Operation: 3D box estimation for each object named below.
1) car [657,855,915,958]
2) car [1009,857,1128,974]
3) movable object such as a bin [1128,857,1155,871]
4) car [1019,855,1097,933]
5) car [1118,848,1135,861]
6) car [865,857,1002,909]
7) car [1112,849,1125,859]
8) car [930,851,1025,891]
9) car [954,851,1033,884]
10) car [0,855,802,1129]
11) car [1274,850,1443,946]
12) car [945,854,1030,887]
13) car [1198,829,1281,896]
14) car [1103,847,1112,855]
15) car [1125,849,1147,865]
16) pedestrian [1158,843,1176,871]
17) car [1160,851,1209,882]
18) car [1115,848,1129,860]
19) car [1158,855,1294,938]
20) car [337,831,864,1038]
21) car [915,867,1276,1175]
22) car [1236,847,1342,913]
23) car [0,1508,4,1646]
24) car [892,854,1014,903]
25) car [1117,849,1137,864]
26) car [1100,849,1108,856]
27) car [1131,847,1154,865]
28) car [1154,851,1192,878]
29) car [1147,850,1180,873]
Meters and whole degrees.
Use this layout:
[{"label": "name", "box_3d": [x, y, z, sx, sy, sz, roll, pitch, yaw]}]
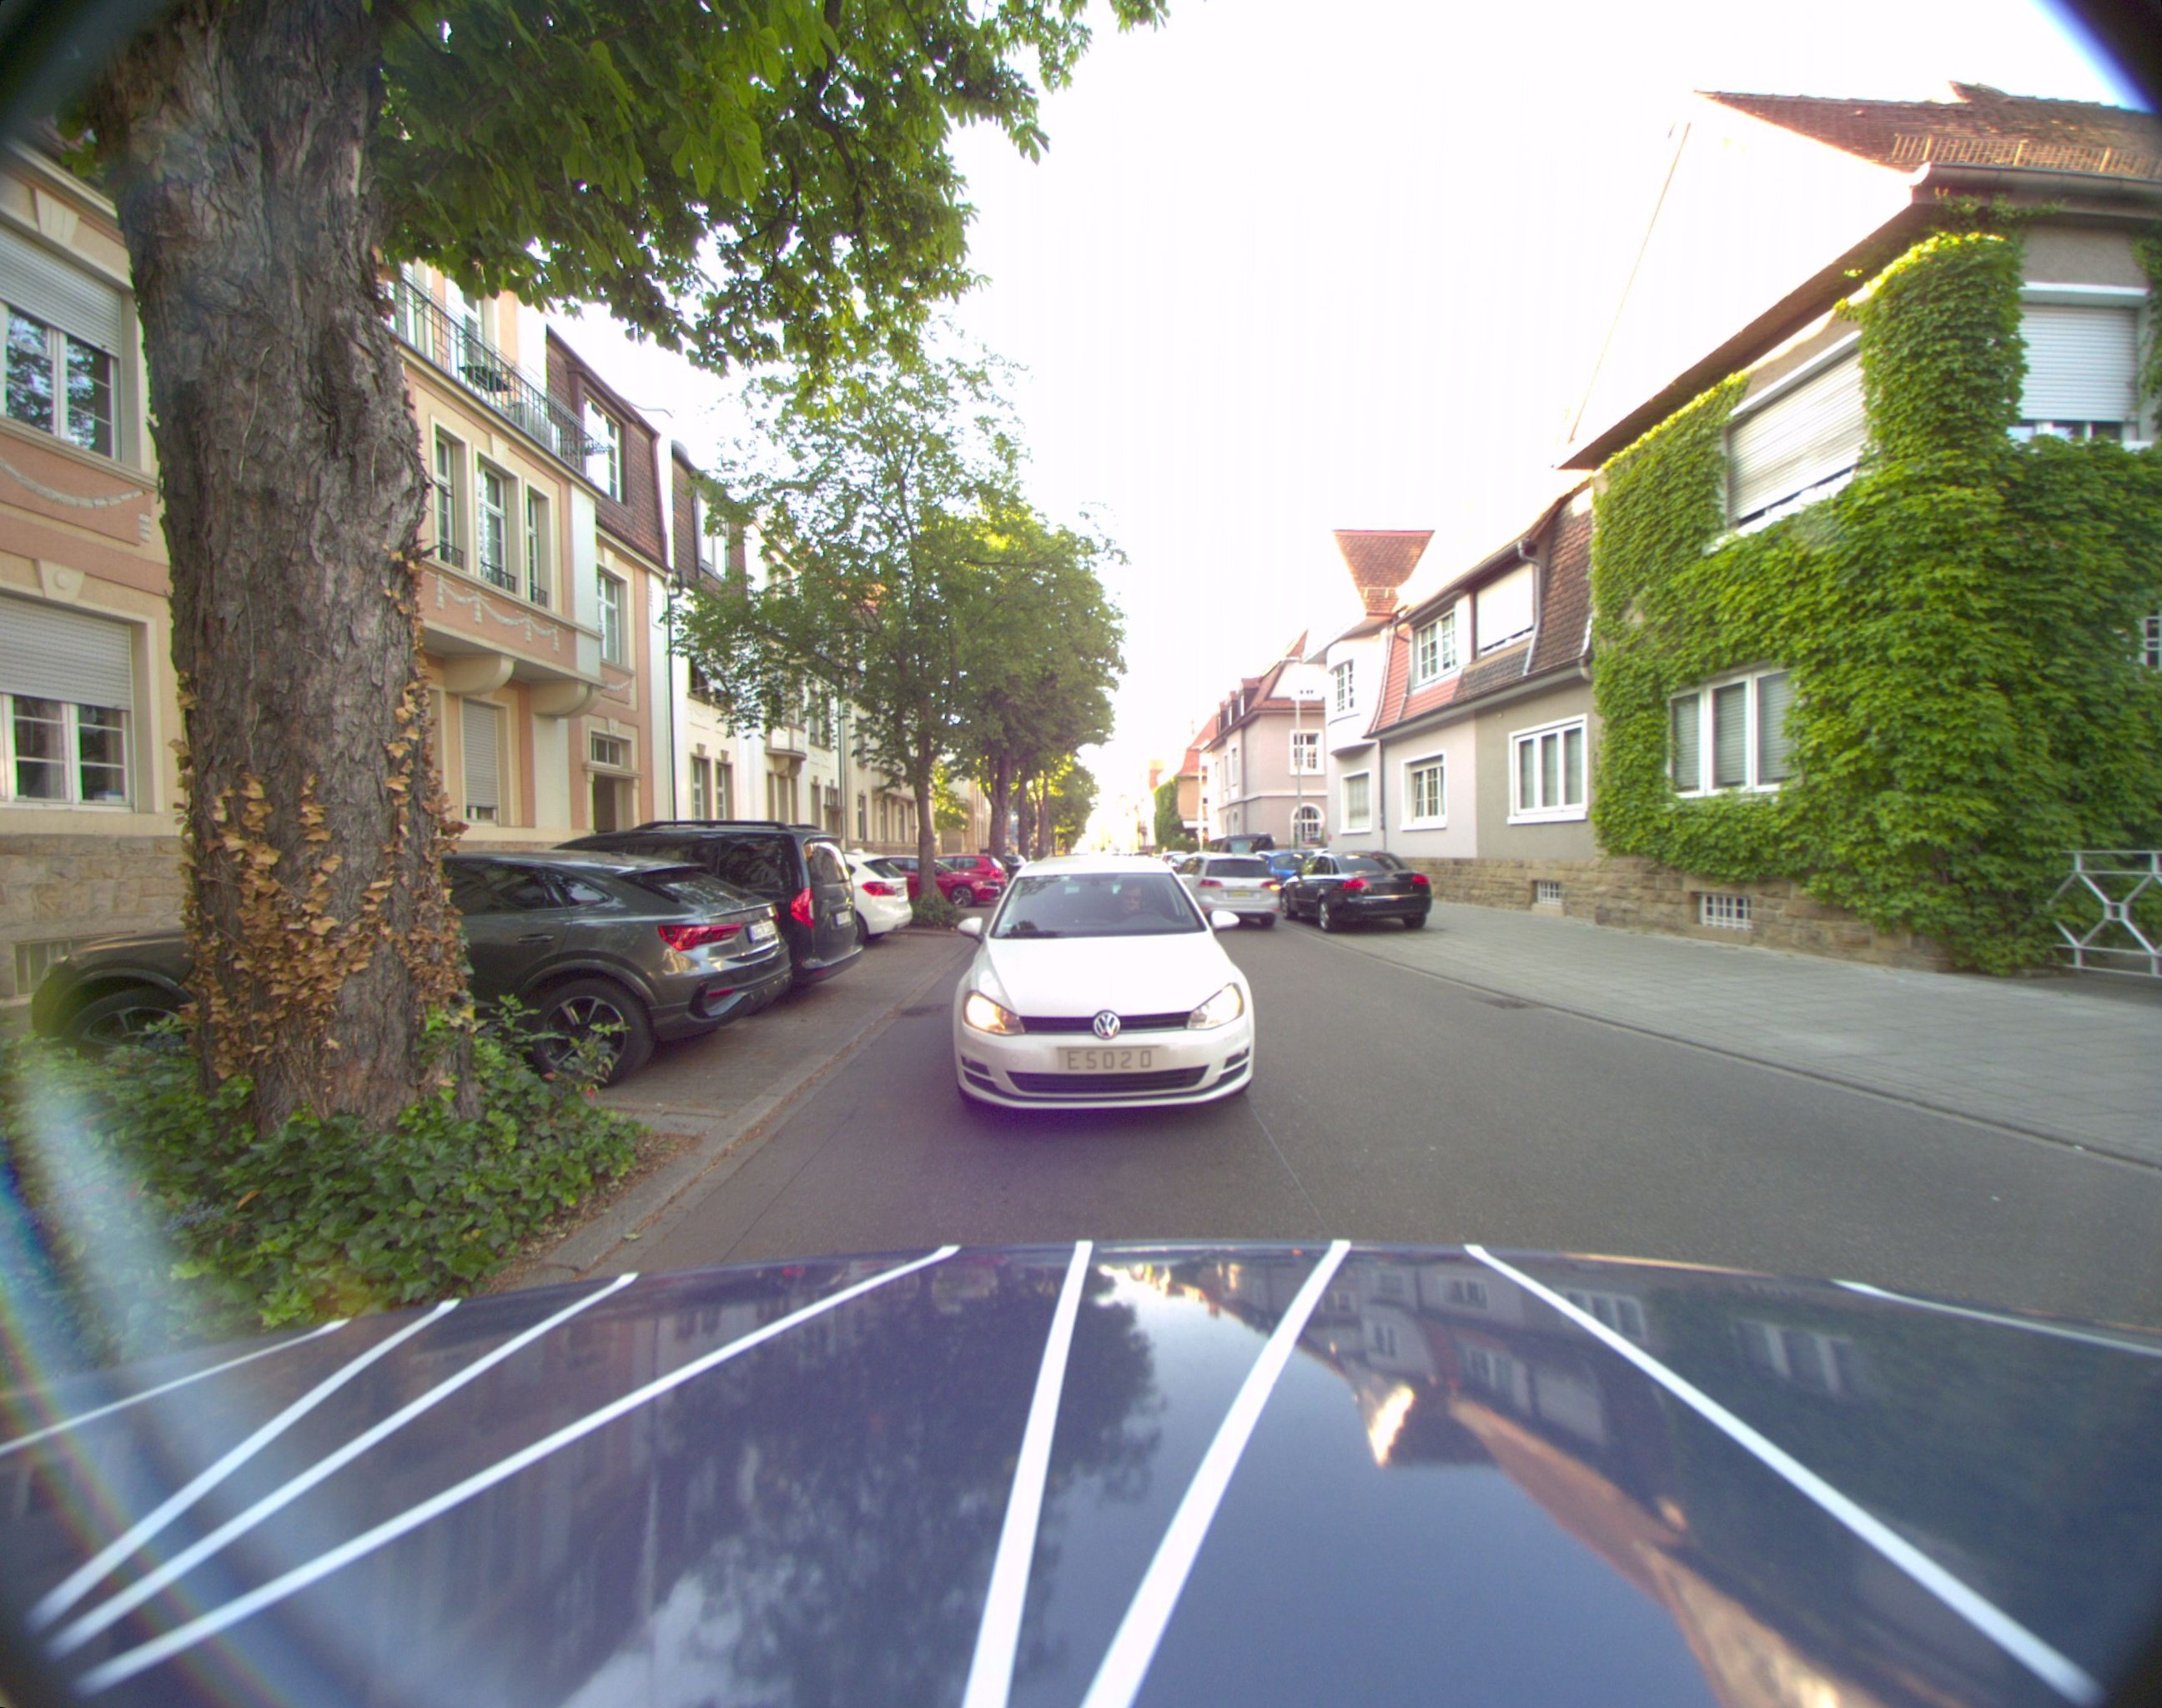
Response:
[{"label": "car", "box_3d": [-4.667, 0.809, 12.393, 3.623, 1.541, 1.537, 1, 1, -4]}, {"label": "car", "box_3d": [-0.140, 0.840, 12.358, 1.600, 1.546, 4.000, 1, 0, 1]}, {"label": "movable object such as a bin", "box_3d": [4.373, 0.705, 55.116, 1.943, 0.943, 1.433, 1, 0, 4]}, {"label": "car", "box_3d": [-0.441, 0.812, 17.303, 1.560, 1.546, 3.738, 1, 0, 1]}, {"label": "car", "box_3d": [5.471, 0.043, 91.269, 1.643, 1.461, 3.689, -3, 0, -1]}, {"label": "car", "box_3d": [-4.156, 0.808, 21.764, 3.622, 1.395, 1.537, 1, 1, 0]}, {"label": "car", "box_3d": [5.695, -0.020, 115.886, 1.643, 1.461, 3.689, -3, 0, 0]}, {"label": "car", "box_3d": [-4.174, 0.669, 30.940, 3.622, 1.555, 1.537, 0, 1, 0]}, {"label": "car", "box_3d": [-4.202, 0.644, 36.854, 3.622, 1.555, 1.537, 0, 1, 0]}, {"label": "car", "box_3d": [-4.365, 0.839, 5.409, 4.173, 1.583, 1.594, 1, 1, -4]}, {"label": "car", "box_3d": [5.070, 0.713, 14.487, 1.751, 1.421, 4.023, -4, 1, 1]}, {"label": "car", "box_3d": [-4.142, 0.725, 34.112, 3.622, 1.395, 1.537, 0, 1, 0]}, {"label": "car", "box_3d": [5.192, 0.224, 25.378, 1.719, 1.961, 4.310, -4, 1, 0]}, {"label": "car", "box_3d": [5.244, -0.525, 149.534, 1.643, 1.461, 3.689, -3, 0, 0]}, {"label": "car", "box_3d": [5.410, 0.253, 75.385, 1.643, 1.461, 3.688, -3, 0, -4]}, {"label": "pedestrian", "box_3d": [6.237, 0.247, 55.067, 1.188, 2.002, 0.931, 1, 1, 4]}, {"label": "car", "box_3d": [4.978, 0.560, 36.965, 1.719, 1.363, 4.334, -3, 0, 0]}, {"label": "car", "box_3d": [5.463, -0.048, 101.526, 1.643, 1.461, 3.689, -3, 0, 0]}, {"label": "car", "box_3d": [2.862, 0.780, 15.953, 1.786, 1.453, 4.298, 1, 0, -3]}, {"label": "car", "box_3d": [-4.465, 0.712, 7.589, 4.173, 1.816, 1.594, 1, 1, -4]}, {"label": "car", "box_3d": [0.040, 0.889, 5.910, 1.799, 1.420, 4.023, -2, 0, -1]}, {"label": "car", "box_3d": [5.432, 0.600, 20.344, 1.611, 1.455, 4.023, -4, 1, 0]}, {"label": "car", "box_3d": [-4.669, 0.793, 0.511, 4.835, 1.814, 1.880, 1, 1, -4]}, {"label": "car", "box_3d": [-4.047, 0.766, 24.335, 3.622, 1.456, 1.537, 1, 1, 0]}, {"label": "car", "box_3d": [4.865, 0.231, 80.660, 1.643, 1.461, 3.688, -3, 0, -4]}, {"label": "car", "box_3d": [5.161, -0.443, 173.335, 1.643, 1.461, 3.689, -3, 0, 0]}, {"label": "car", "box_3d": [5.490, 0.150, 68.245, 1.643, 1.461, 3.945, -3, 0, 0]}, {"label": "car", "box_3d": [5.077, 0.550, 42.207, 1.541, 1.363, 3.945, -3, 0, 0]}, {"label": "car", "box_3d": [5.444, 0.475, 50.636, 1.719, 1.363, 3.945, -3, 0, 0]}]
